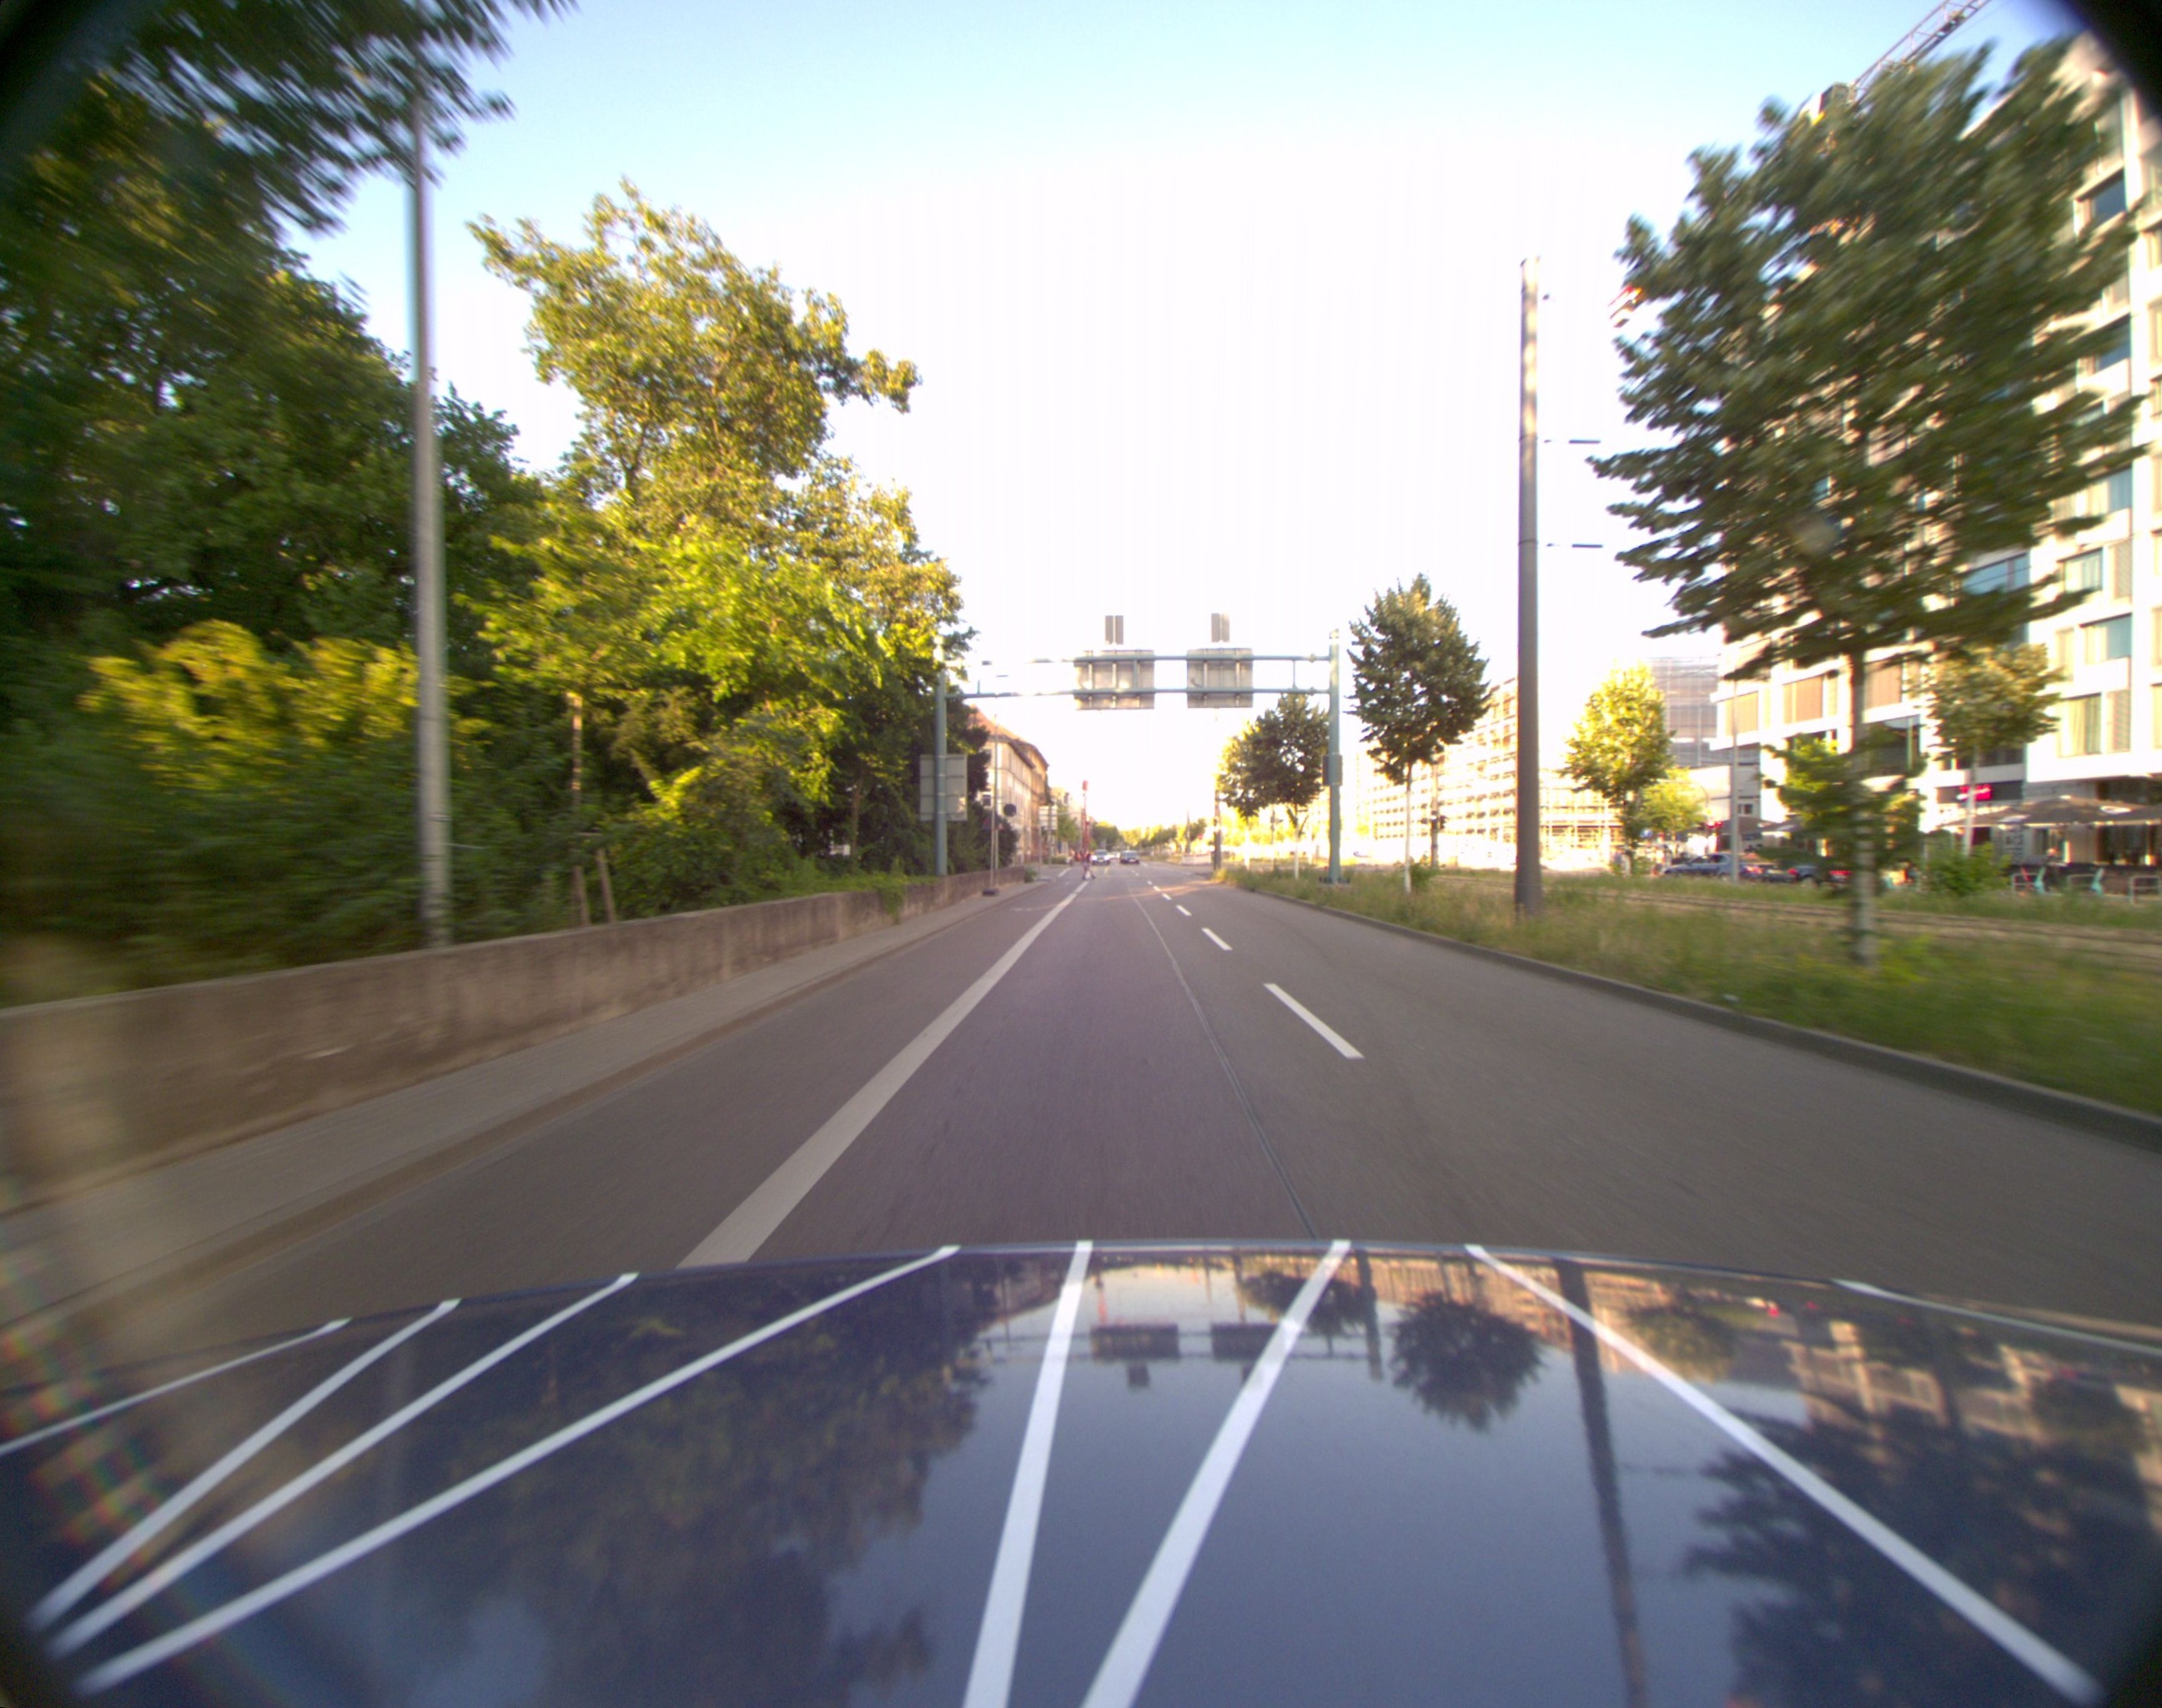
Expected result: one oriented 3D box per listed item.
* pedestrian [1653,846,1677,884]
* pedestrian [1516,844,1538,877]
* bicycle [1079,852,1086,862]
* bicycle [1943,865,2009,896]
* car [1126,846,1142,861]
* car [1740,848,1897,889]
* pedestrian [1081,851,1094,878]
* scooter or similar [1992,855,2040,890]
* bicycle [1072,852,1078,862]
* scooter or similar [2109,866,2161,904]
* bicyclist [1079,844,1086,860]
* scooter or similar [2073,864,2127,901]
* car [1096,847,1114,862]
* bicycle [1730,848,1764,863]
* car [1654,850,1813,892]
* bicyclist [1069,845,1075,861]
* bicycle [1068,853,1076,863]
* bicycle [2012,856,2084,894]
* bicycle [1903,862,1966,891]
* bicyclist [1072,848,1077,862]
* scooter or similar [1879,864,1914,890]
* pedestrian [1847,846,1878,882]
[{"bbox_3d":[30.356,0.573,39.504,0.680,1.913,0.709,-2,1,4],"label":"pedestrian"},{"bbox_3d":[25.242,0.335,43.023,0.708,1.825,0.763,-3,1,1],"label":"pedestrian"},{"bbox_3d":[0.174,0.322,80.923,0.721,1.045,2.043,-2,2,2],"label":"bicycle"},{"bbox_3d":[32.646,0.964,27.714,1.914,1.053,0.443,-2,1,-1],"label":"bicycle"},{"bbox_3d":[5.850,-0.108,83.522,1.702,1.588,4.261,-1,0,4],"label":"car"},{"bbox_3d":[27.602,0.488,28.671,1.890,1.431,4.224,0,1,1],"label":"car"},{"bbox_3d":[0.352,0.600,43.295,0.580,1.495,0.619,-3,1,10],"label":"pedestrian"},{"bbox_3d":[32.617,0.657,26.503,1.184,1.210,0.338,0,1,3],"label":"scooter or similar"},{"bbox_3d":[-0.657,0.299,83.237,0.517,1.045,2.044,1,1,5],"label":"bicycle"},{"bbox_3d":[32.262,0.938,23.186,1.184,1.051,0.338,-4,-1,3],"label":"scooter or similar"},{"bbox_3d":[0.180,-0.243,81.200,0.705,1.692,0.768,-2,3,3],"label":"bicyclist"},{"bbox_3d":[32.708,0.921,24.403,1.184,1.157,0.338,0,1,3],"label":"scooter or similar"},{"bbox_3d":[2.619,0.012,83.135,1.833,1.588,4.261,-1,0,4],"label":"car"},{"bbox_3d":[41.608,0.130,47.486,0.394,0.869,1.979,-2,-2,1],"label":"bicycle"},{"bbox_3d":[24.643,0.578,28.982,2.019,1.432,4.801,2,1,2],"label":"car"},{"bbox_3d":[-0.937,-0.118,80.998,0.509,1.692,0.768,2,3,6],"label":"bicyclist"},{"bbox_3d":[-0.967,0.431,80.834,0.528,1.045,2.048,3,2,6],"label":"bicycle"},{"bbox_3d":[32.731,0.704,25.723,1.914,1.192,0.443,-2,1,-1],"label":"bicycle"},{"bbox_3d":[32.656,0.855,29.072,1.914,1.053,0.443,-2,1,-1],"label":"bicycle"},{"bbox_3d":[-0.690,0.099,82.843,0.512,1.540,0.692,1,1,5],"label":"bicyclist"},{"bbox_3d":[32.816,0.920,30.574,1.009,1.028,0.291,-1,3,3],"label":"scooter or similar"},{"bbox_3d":[35.771,0.471,34.773,0.681,1.594,0.708,-3,1,-9],"label":"pedestrian"}]
